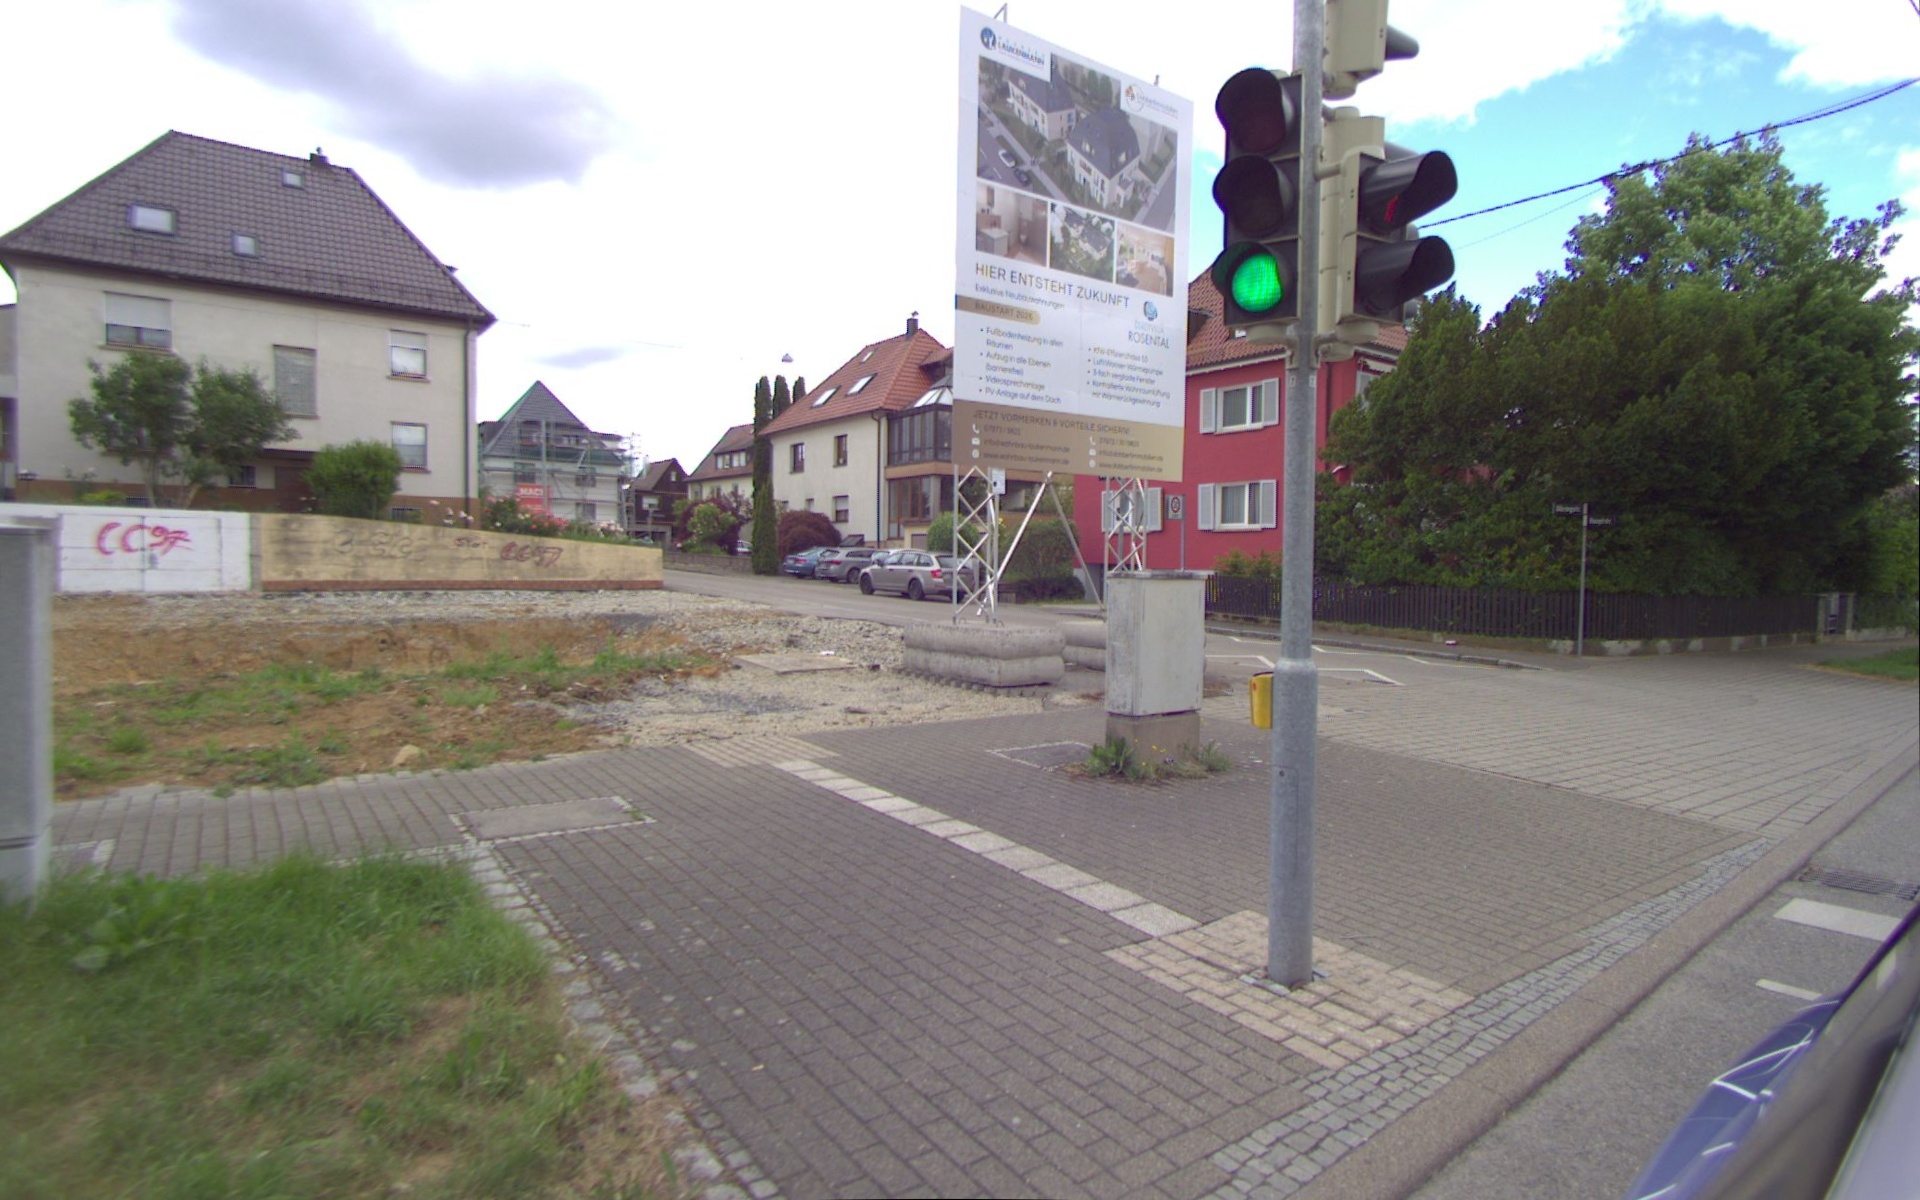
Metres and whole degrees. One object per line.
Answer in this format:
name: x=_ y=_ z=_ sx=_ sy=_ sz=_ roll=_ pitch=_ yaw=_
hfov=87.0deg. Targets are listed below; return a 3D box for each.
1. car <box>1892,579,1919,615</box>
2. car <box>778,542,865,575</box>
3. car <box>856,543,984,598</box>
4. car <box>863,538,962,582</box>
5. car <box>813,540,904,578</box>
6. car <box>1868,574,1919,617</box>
car: x=42.456 y=-0.079 z=43.502 sx=1.720 sy=1.477 sz=3.356 roll=0 pitch=3 yaw=-43
car: x=-5.984 y=-1.786 z=43.900 sx=3.438 sy=1.340 sz=1.621 roll=-1 pitch=1 yaw=-39
car: x=-1.289 y=-0.934 z=30.898 sx=1.728 sy=1.442 sz=4.233 roll=1 pitch=3 yaw=-38
car: x=-1.760 y=-1.459 z=38.041 sx=3.438 sy=1.560 sz=1.621 roll=-1 pitch=1 yaw=-39
car: x=-4.186 y=-1.676 z=41.867 sx=3.438 sy=1.485 sz=1.621 roll=-1 pitch=1 yaw=-39
car: x=39.971 y=-0.132 z=41.813 sx=1.552 sy=1.653 sz=3.361 roll=0 pitch=5 yaw=-40
